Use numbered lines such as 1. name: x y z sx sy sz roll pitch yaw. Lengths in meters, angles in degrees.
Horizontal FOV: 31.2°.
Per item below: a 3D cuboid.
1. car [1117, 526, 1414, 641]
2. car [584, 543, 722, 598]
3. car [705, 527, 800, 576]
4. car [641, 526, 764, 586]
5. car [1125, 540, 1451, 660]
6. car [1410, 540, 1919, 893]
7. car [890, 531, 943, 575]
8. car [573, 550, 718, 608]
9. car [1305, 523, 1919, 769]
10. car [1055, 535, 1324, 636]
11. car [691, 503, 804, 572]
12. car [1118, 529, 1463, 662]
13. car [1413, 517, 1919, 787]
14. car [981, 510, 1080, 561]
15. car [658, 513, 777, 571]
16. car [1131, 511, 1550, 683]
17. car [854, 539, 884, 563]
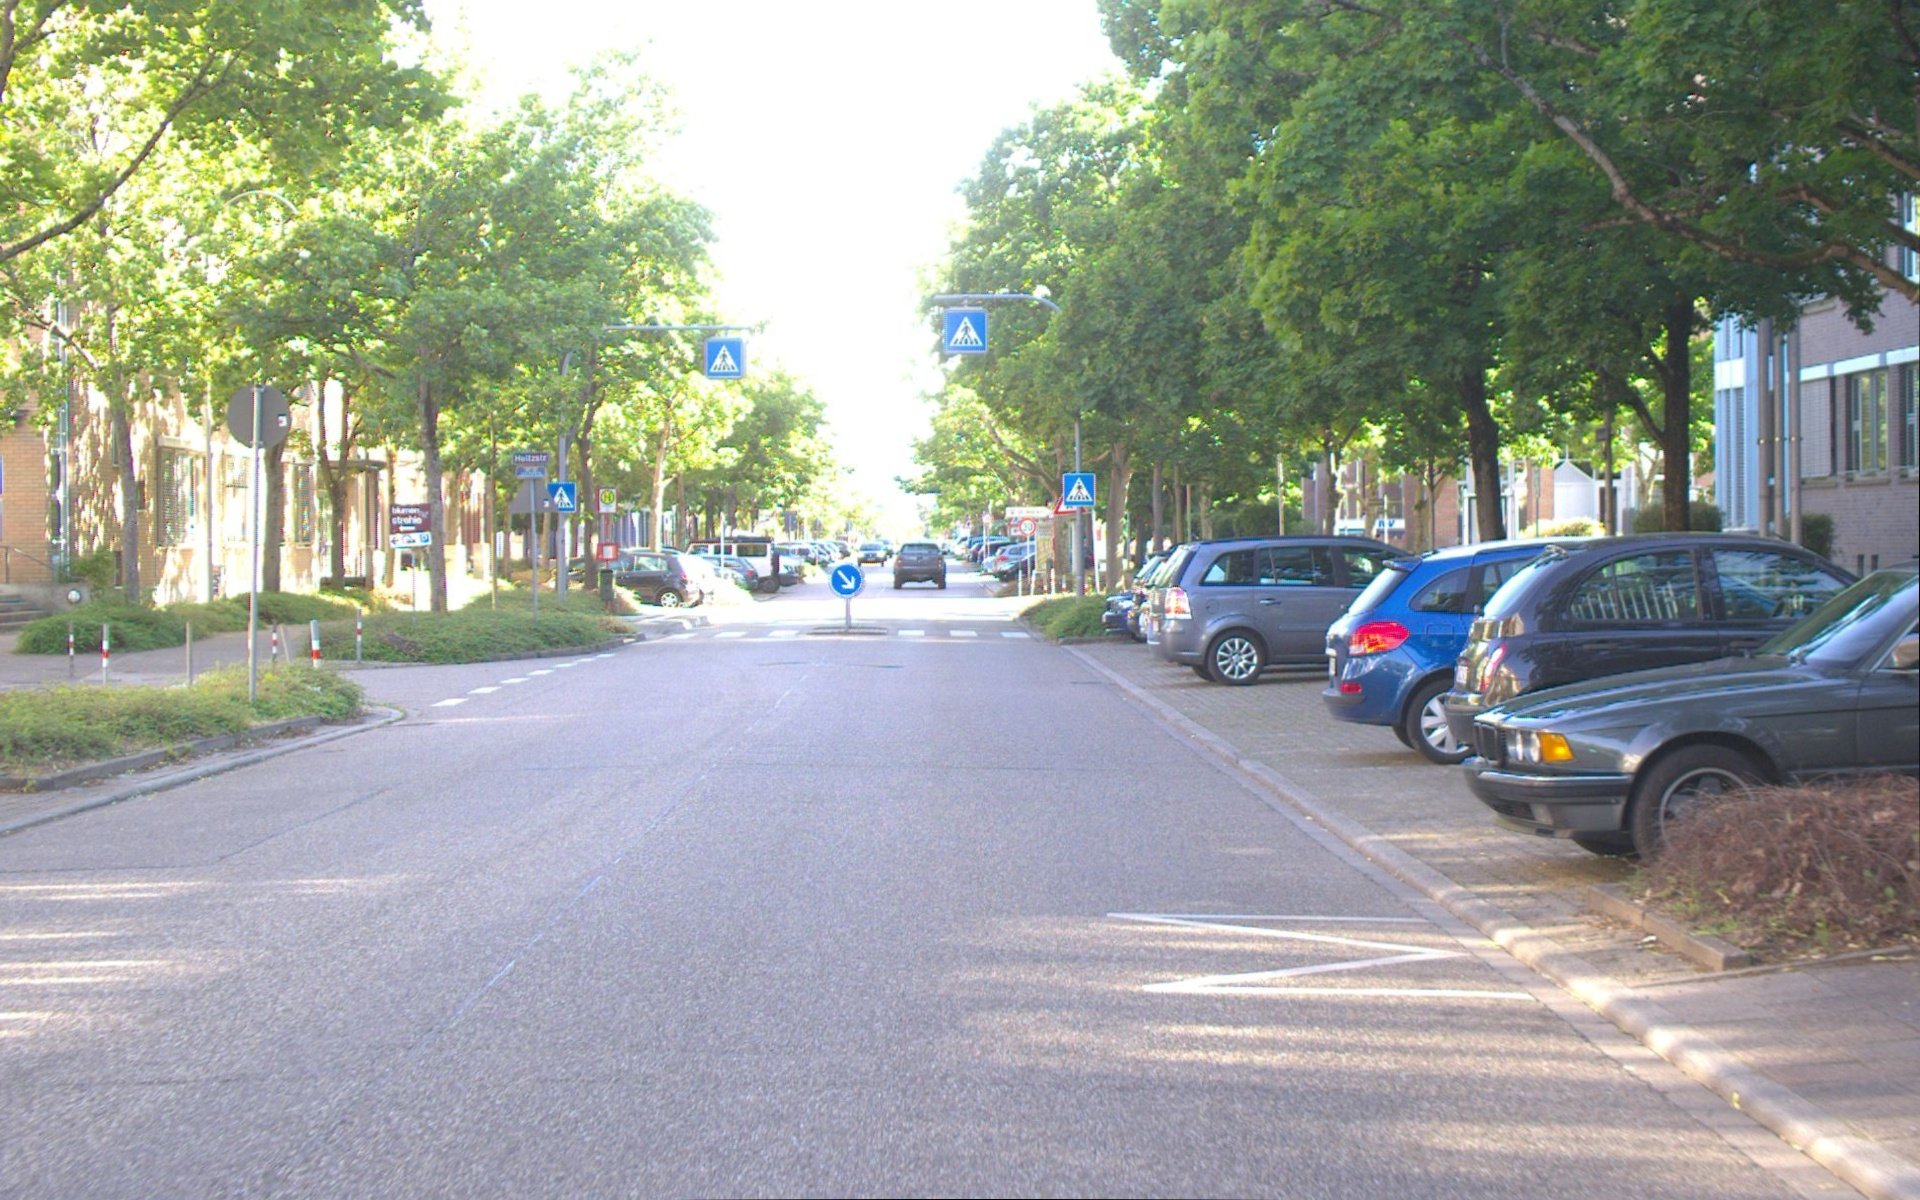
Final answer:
1. car: 4.571 -0.262 51.884 4.190 1.531 1.813 -2 1 -3
2. car: -8.738 -0.845 97.774 3.848 1.468 1.813 1 1 -6
3. car: -8.901 -2.076 147.666 3.986 2.007 2.000 -1 1 -2
4. car: -8.978 -1.534 119.985 3.987 2.007 2.000 -1 1 4
5. car: 4.474 -0.018 47.286 4.190 1.443 1.813 -2 1 -3
6. car: 4.658 0.432 15.777 4.824 1.415 2.032 -2 1 -2
7. car: -1.681 -1.819 133.379 1.993 1.634 4.000 1 1 -1
8. car: -8.510 -0.570 92.919 3.848 1.468 1.813 1 1 -6
9. car: 4.510 0.297 24.212 3.949 1.509 1.813 -2 1 1
10. car: 3.759 -0.249 56.718 4.190 1.468 1.813 -2 1 -3
11. car: -7.938 -2.336 128.346 3.987 2.532 1.862 0 1 4
12. car: 4.269 -0.072 44.783 4.190 1.531 1.813 -2 1 -3
13. car: 4.818 0.284 21.615 3.641 1.509 1.813 -2 1 0
14. car: 2.901 -2.672 142.310 3.986 2.007 2.000 -1 1 -2
15. car: -8.663 -2.085 123.253 3.987 2.007 2.000 -1 1 4
16. car: 4.204 -0.050 38.378 4.350 1.698 1.813 -2 1 -3
17. car: -5.793 -3.115 219.109 1.813 1.519 4.000 -1 1 0
